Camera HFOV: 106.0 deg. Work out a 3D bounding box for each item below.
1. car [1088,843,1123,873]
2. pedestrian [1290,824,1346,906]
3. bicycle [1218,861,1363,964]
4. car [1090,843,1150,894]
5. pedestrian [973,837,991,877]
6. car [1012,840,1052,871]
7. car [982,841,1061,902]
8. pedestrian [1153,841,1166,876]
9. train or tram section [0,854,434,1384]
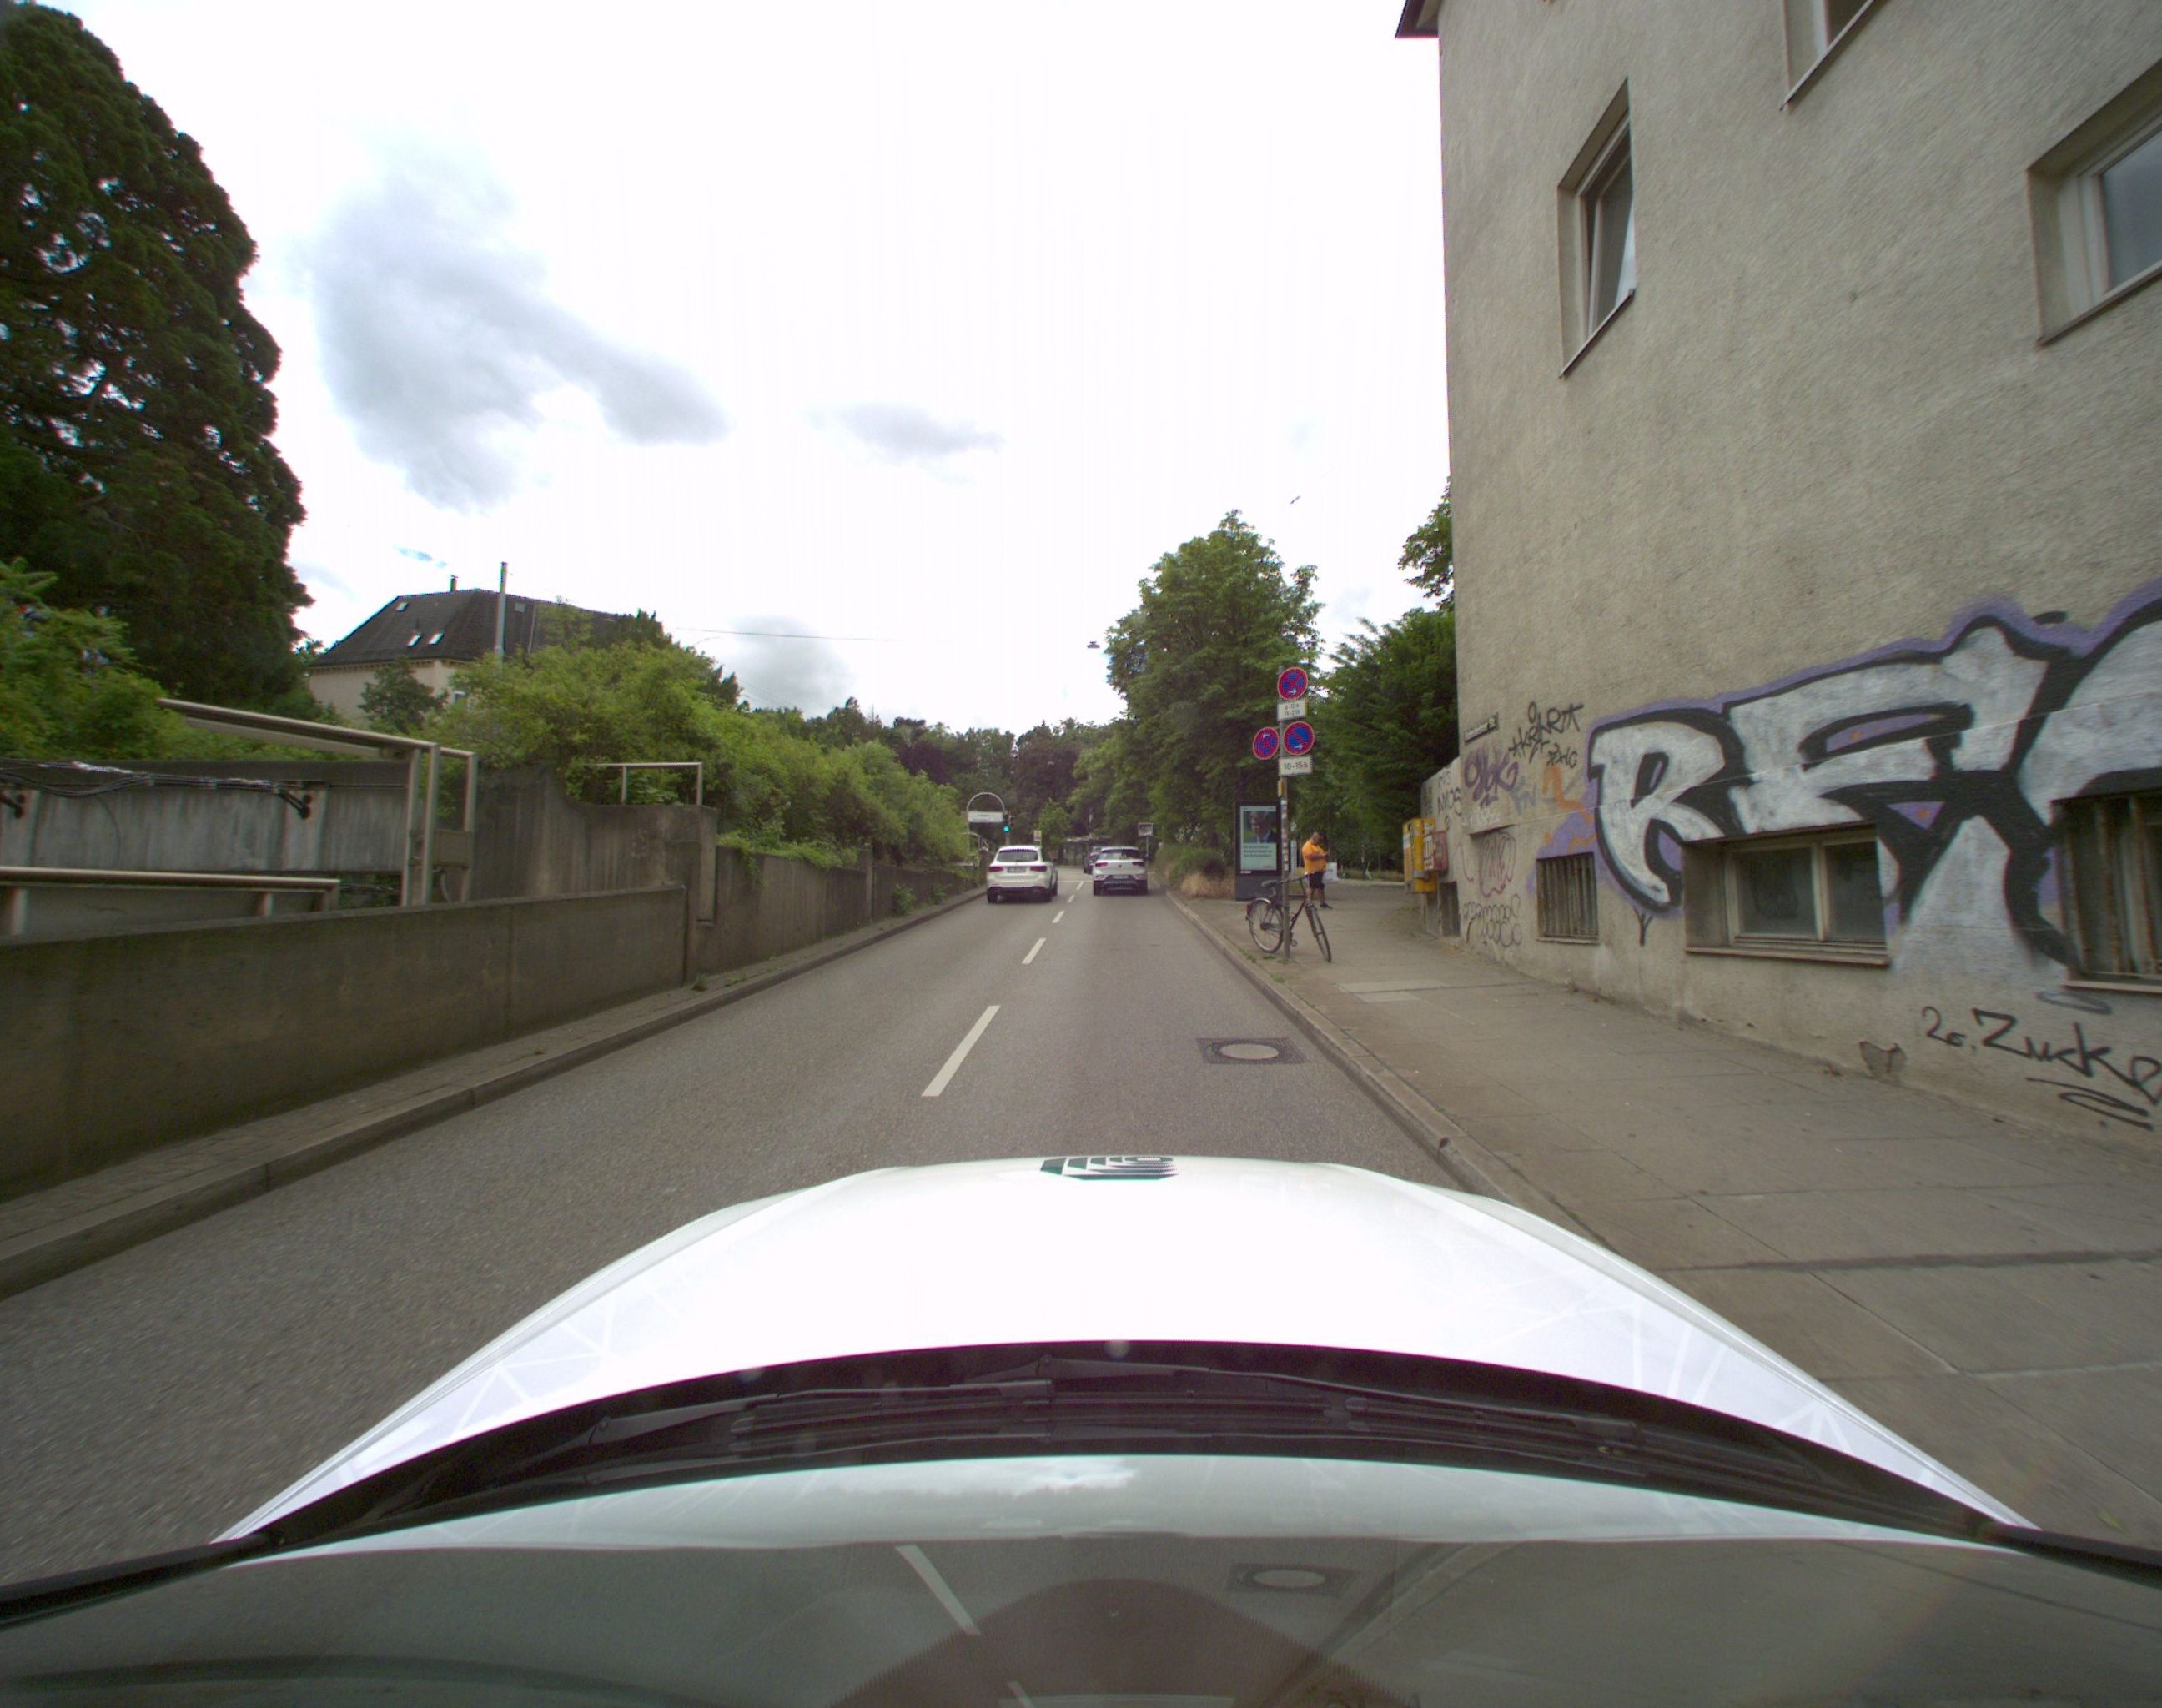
[{"bbox_3d":[1.409,0.226,45.713,1.853,1.632,3.961,0,0,2],"label":"car"},{"bbox_3d":[5.112,0.234,17.589,0.833,1.712,0.818,-2,0,-12],"label":"pedestrian"},{"bbox_3d":[2.639,0.692,10.531,0.641,1.143,2.050,-5,1,-22],"label":"bicycle"},{"bbox_3d":[1.317,0.457,27.332,1.857,1.556,3.898,0,0,3],"label":"car"},{"bbox_3d":[-4.680,0.147,38.407,0.701,1.861,0.616,-1,0,8],"label":"pedestrian"},{"bbox_3d":[-3.178,0.114,52.158,1.995,1.882,3.984,1,0,-12],"label":"car"},{"bbox_3d":[-1.717,0.494,24.836,1.869,1.652,4.344,-1,0,2],"label":"car"},{"bbox_3d":[3.992,0.221,41.205,0.611,1.712,0.728,-2,0,6],"label":"pedestrian"},{"bbox_3d":[-8.718,1.680,2.398,2.939,3.509,12.987,-1,-2,1],"label":"train or tram section"}]
